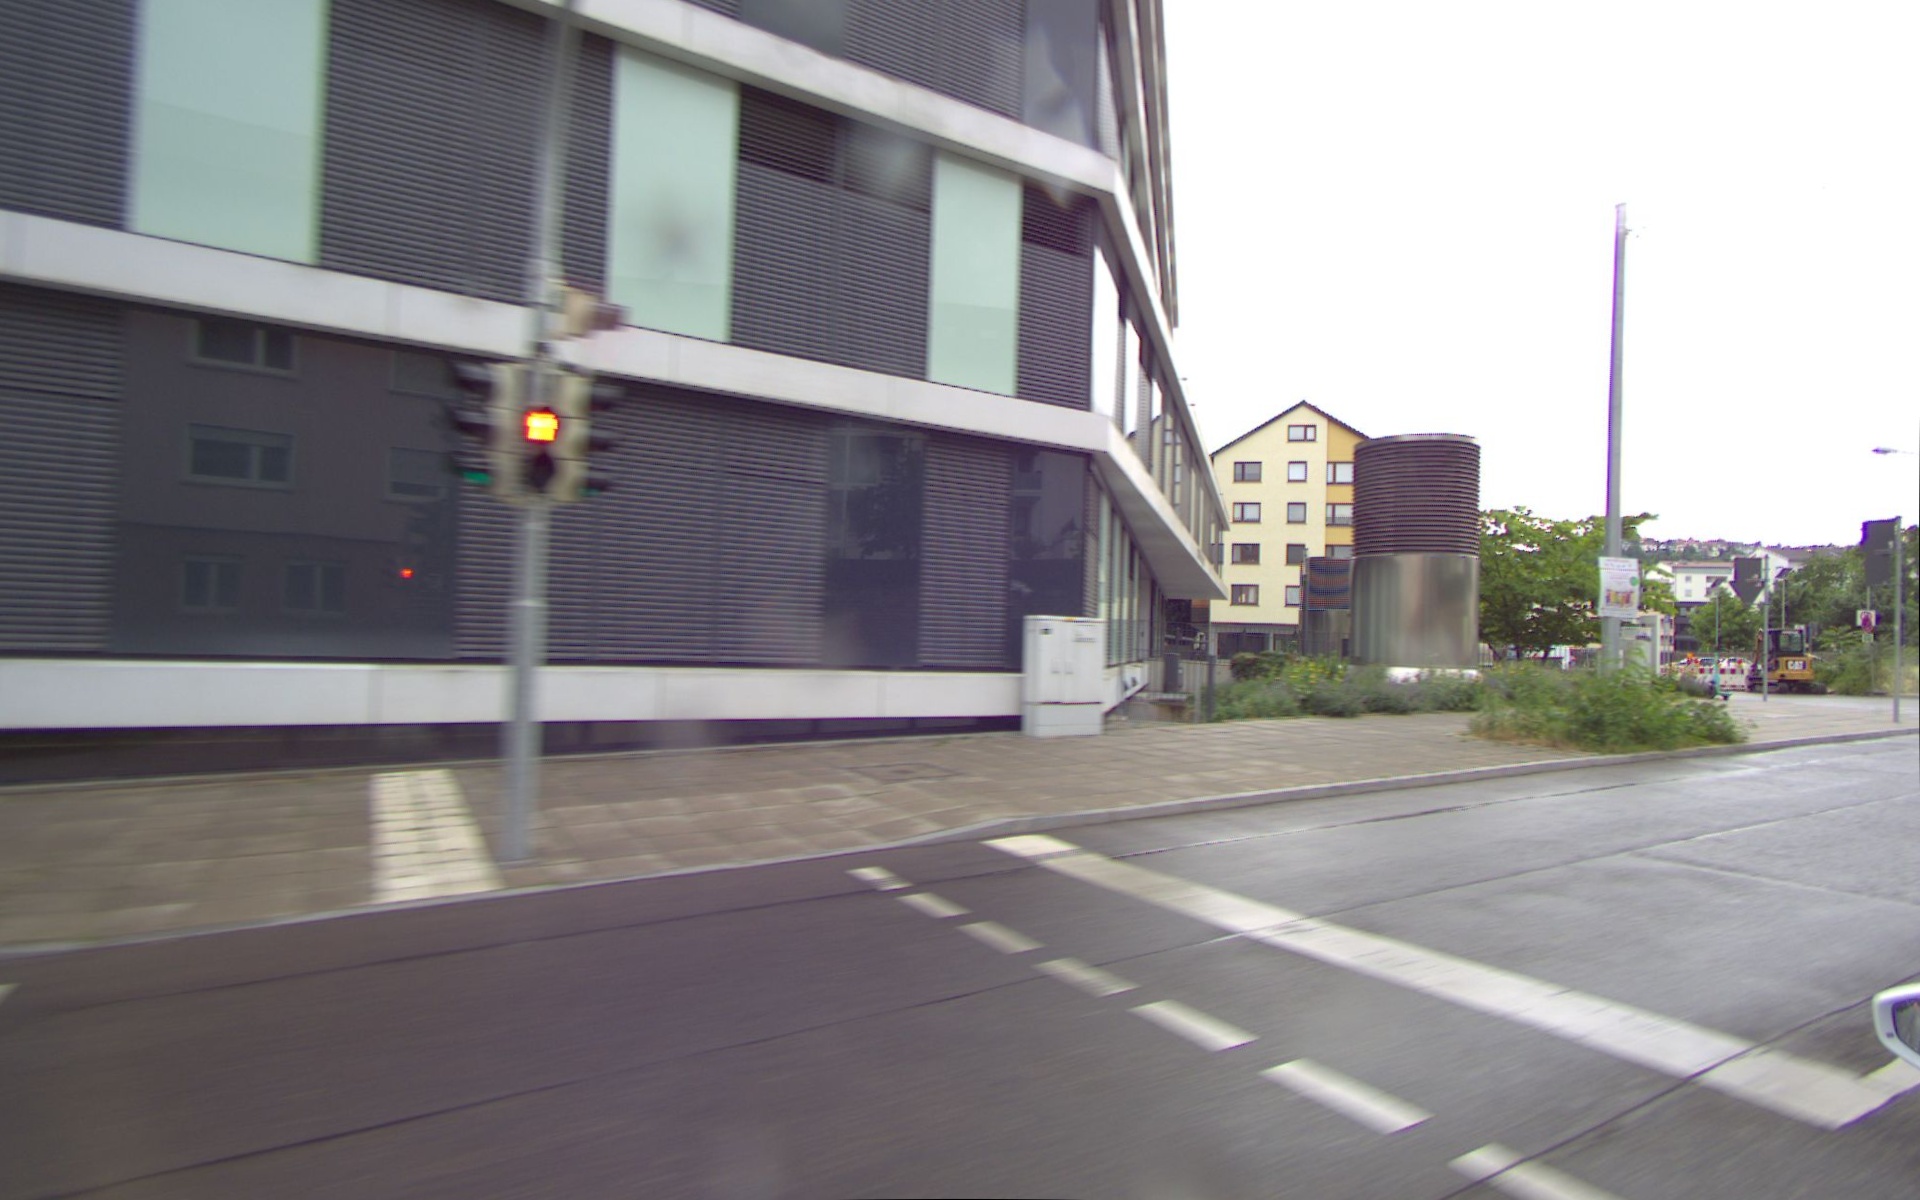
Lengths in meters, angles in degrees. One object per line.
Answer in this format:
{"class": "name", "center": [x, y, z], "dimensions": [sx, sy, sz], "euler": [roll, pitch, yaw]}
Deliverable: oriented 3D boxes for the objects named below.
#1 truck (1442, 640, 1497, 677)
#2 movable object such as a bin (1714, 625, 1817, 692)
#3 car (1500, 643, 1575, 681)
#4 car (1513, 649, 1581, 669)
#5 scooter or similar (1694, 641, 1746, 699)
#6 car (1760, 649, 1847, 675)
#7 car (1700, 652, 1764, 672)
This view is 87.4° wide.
{"class": "truck", "center": [42.746, 4.910, 84.443], "dimensions": [2.724, 2.969, 5.295], "euler": [-1, -3, 12]}
{"class": "movable object such as a bin", "center": [32.687, 2.329, 40.941], "dimensions": [1.638, 2.491, 5.290], "euler": [1, -2, 20]}
{"class": "car", "center": [39.312, 4.241, 68.573], "dimensions": [2.620, 2.444, 5.739], "euler": [-1, -3, 10]}
{"class": "car", "center": [52.849, 5.311, 90.522], "dimensions": [4.806, 1.646, 2.128], "euler": [0, -4, 14]}
{"class": "scooter or similar", "center": [17.339, 1.597, 22.913], "dimensions": [1.217, 1.265, 0.494], "euler": [3, -1, -30]}
{"class": "car", "center": [63.412, 4.682, 75.598], "dimensions": [4.597, 1.858, 2.002], "euler": [0, -2, 11]}
{"class": "car", "center": [65.652, 5.247, 85.444], "dimensions": [3.919, 1.647, 1.802], "euler": [0, -2, 11]}
